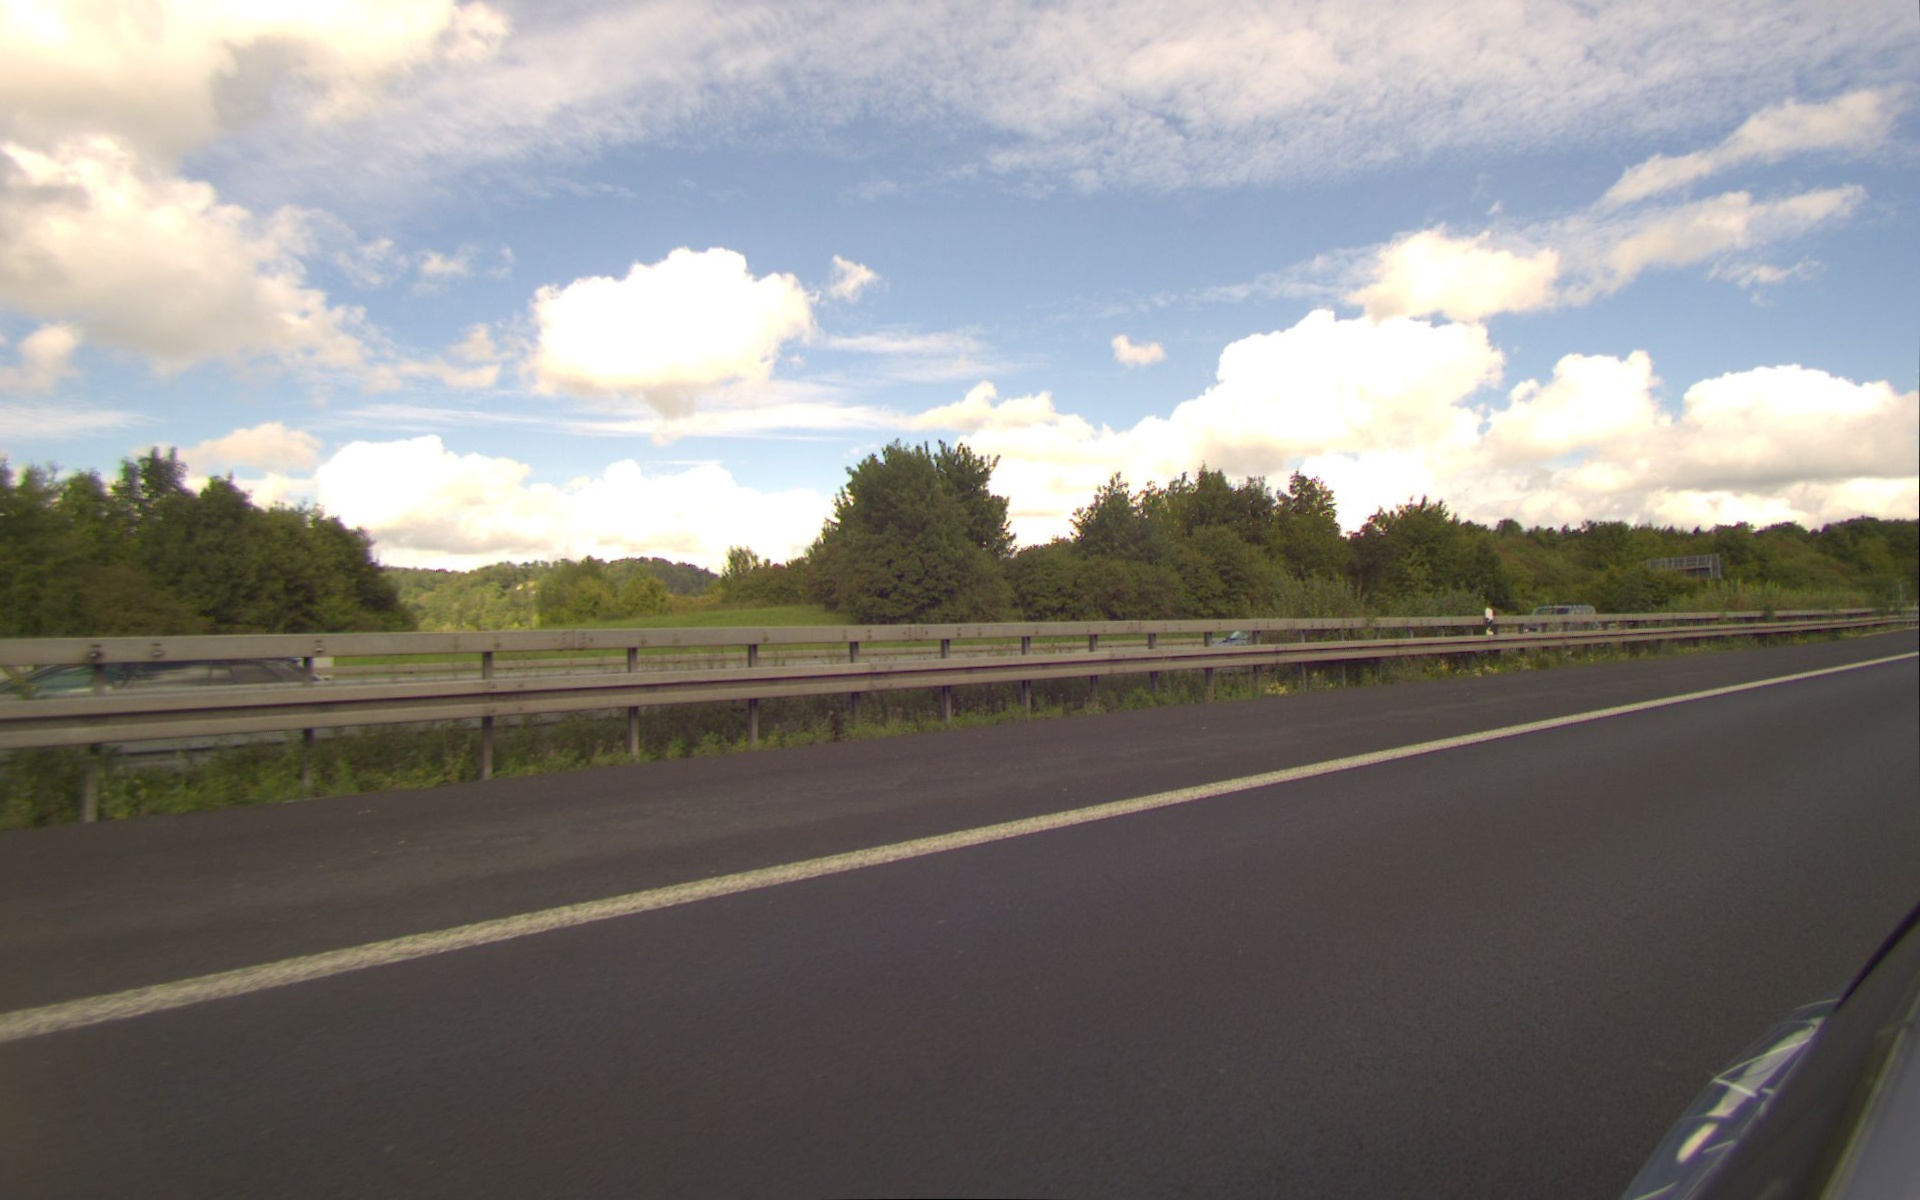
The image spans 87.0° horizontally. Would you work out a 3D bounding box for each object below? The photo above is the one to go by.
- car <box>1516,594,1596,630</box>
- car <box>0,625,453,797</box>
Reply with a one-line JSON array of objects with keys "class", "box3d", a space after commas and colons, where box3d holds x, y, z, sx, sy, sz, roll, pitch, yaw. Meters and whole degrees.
[{"class": "car", "box3d": [27.718, 0.526, 47.030, 4.265, 1.591, 1.788, 0, 0, -38]}, {"class": "car", "box3d": [-8.555, 1.152, 12.006, 4.267, 1.591, 1.787, 0, 0, -40]}]
